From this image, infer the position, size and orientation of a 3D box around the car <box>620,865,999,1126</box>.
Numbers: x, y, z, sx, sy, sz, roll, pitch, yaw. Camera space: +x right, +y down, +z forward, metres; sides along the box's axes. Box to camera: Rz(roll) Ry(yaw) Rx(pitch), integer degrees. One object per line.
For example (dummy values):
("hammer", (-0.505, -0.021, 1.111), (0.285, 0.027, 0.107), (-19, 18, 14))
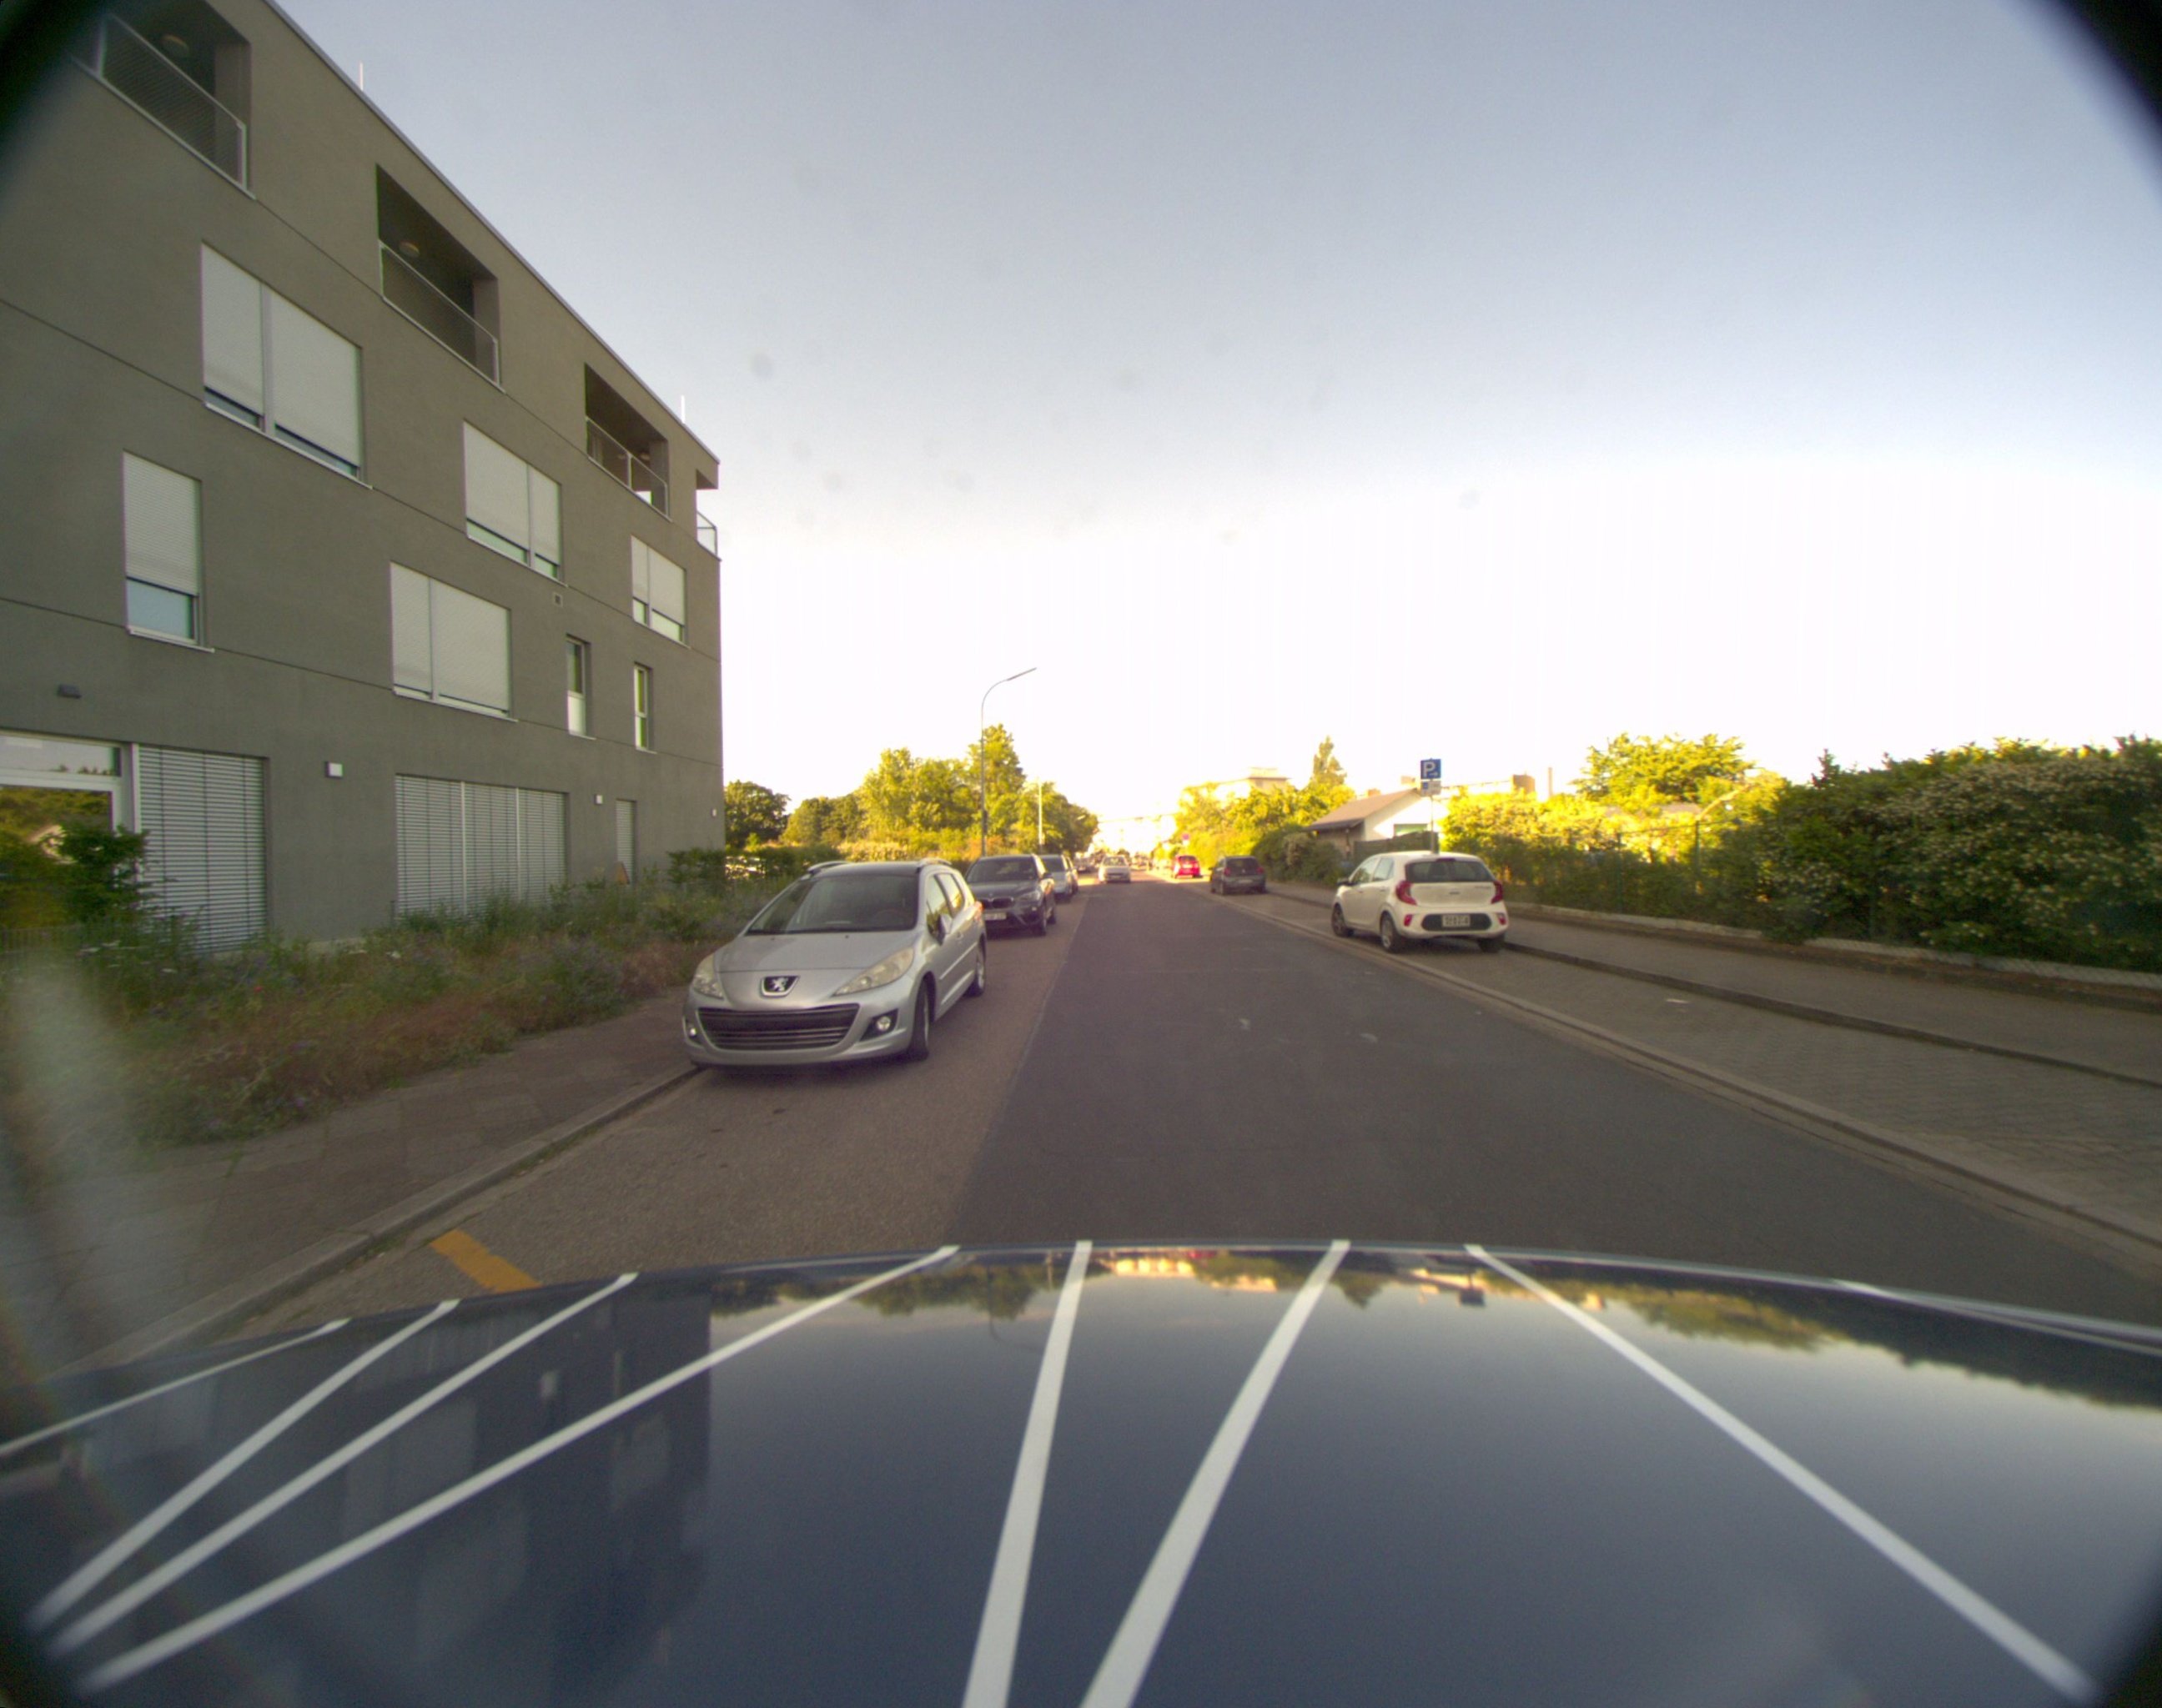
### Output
("car", (-1.950, 0.932, 6.880), (1.711, 1.517, 4.155), (-2, 0, 3))

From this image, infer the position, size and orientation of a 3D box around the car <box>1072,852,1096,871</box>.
("car", (0.254, 0.619, 66.273), (1.873, 1.517, 4.155), (-2, 0, 3))

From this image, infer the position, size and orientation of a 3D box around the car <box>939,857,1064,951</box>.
("car", (-1.477, 0.896, 15.916), (1.748, 1.557, 4.804), (-3, 0, 4))

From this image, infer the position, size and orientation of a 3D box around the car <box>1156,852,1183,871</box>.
("car", (6.658, 0.533, 57.525), (1.700, 1.361, 3.911), (-1, 0, 2))

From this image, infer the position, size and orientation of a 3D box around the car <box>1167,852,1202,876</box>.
("car", (6.478, 0.585, 47.779), (1.700, 1.421, 4.386), (-1, 0, 2))

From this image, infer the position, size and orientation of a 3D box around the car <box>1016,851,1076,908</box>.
("car", (-1.122, 0.806, 26.246), (1.711, 1.695, 4.349), (-3, 0, 1))

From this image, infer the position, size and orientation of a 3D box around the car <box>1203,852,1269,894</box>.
("car", (5.968, 0.692, 29.703), (1.700, 1.415, 4.517), (-3, 0, 2))

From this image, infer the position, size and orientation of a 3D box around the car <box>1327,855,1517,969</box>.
("car", (5.177, 0.793, 12.017), (1.531, 1.479, 3.402), (-2, 0, 2))

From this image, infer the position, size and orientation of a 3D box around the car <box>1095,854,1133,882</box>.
("car", (1.769, 0.744, 41.658), (1.679, 1.440, 3.999), (-1, 0, -3))

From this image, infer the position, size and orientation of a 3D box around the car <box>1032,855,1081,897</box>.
("car", (-0.954, 0.845, 31.084), (1.711, 1.517, 3.093), (-3, 0, 3))
